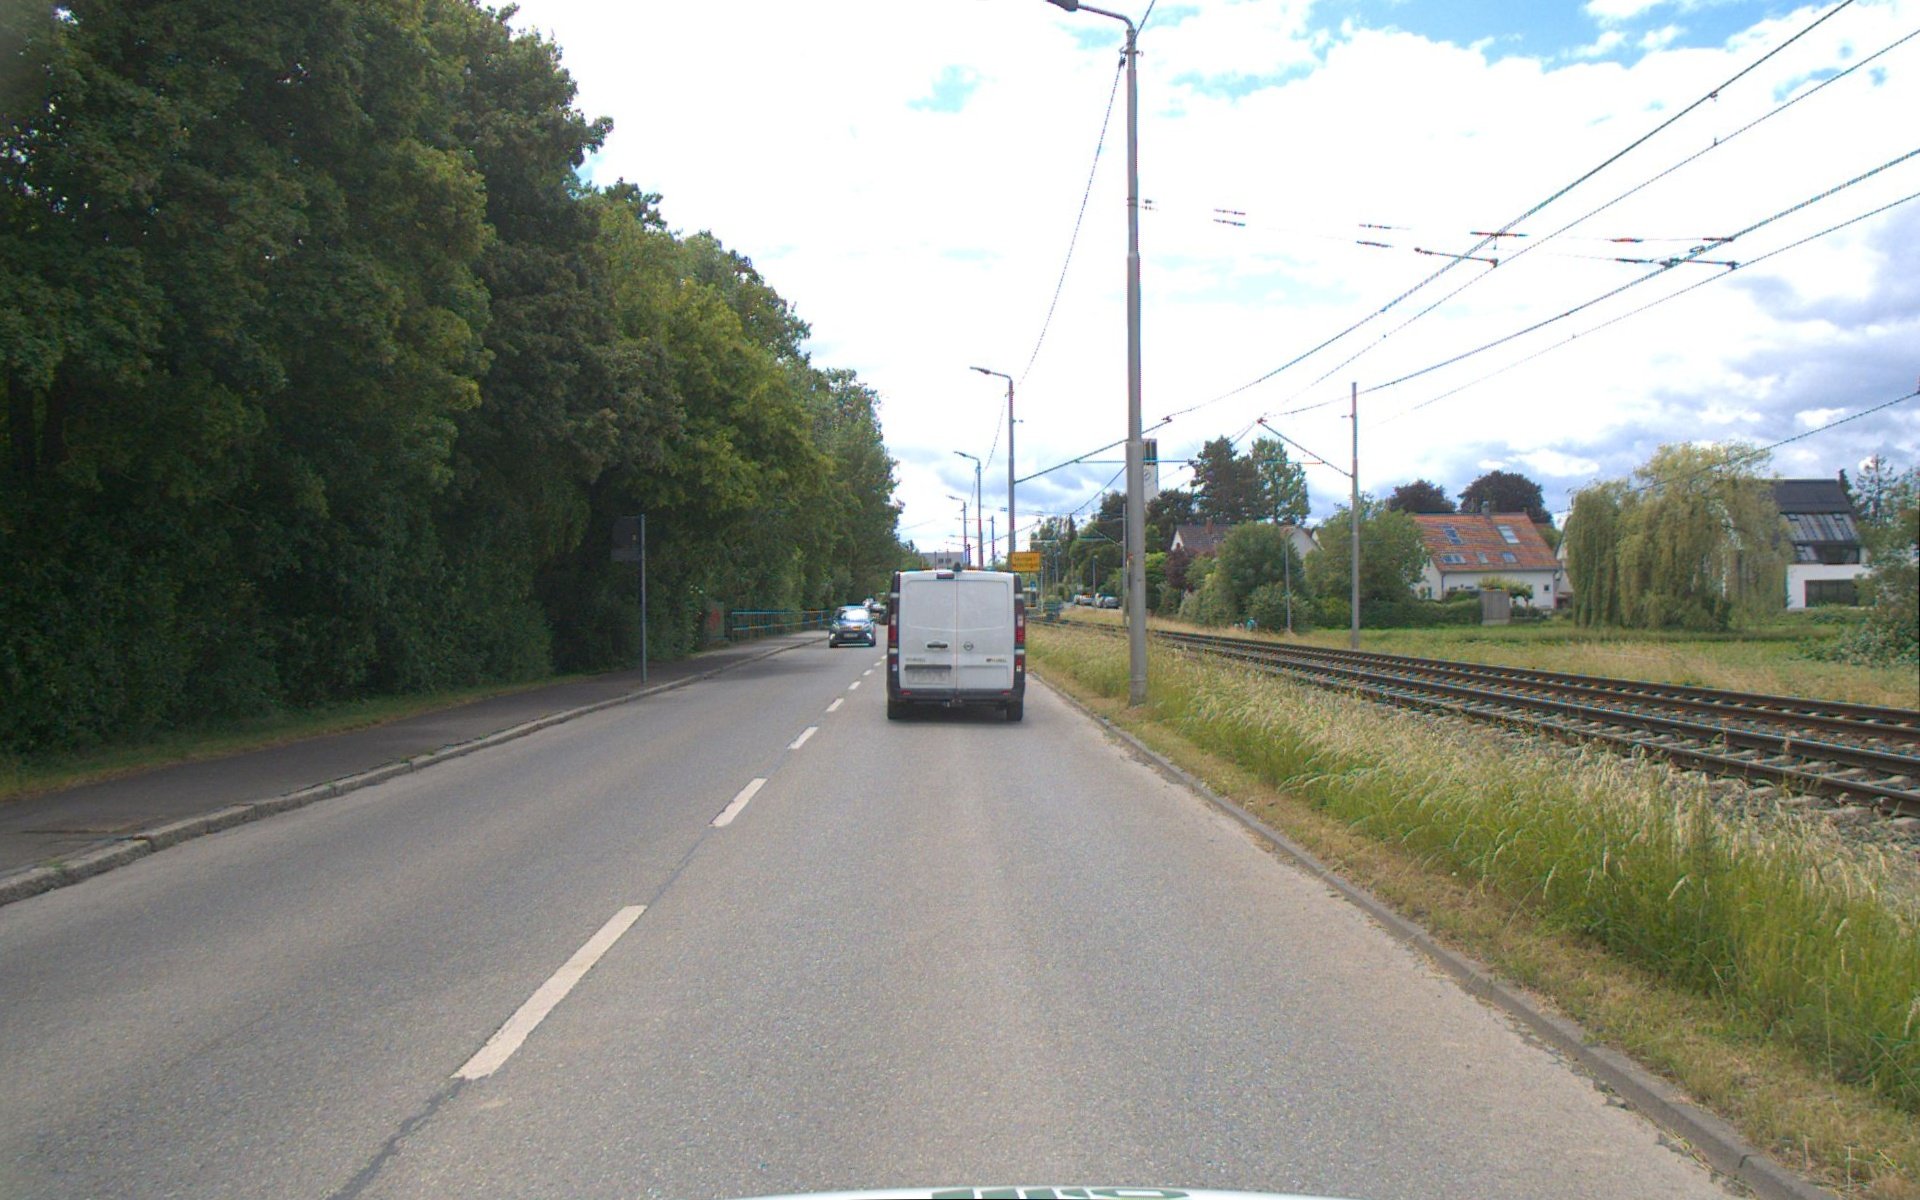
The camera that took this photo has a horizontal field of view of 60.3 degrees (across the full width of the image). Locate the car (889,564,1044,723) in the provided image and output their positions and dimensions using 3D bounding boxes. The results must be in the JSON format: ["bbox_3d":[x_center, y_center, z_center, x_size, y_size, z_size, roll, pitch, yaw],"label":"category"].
[{"bbox_3d":[0.010,0.537,22.945,1.953,1.991,3.998,0,0,-2],"label":"car"}]

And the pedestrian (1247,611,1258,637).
[{"bbox_3d":[17.056,1.388,96.488,0.515,1.532,0.656,-1,-1,-2],"label":"pedestrian"}]

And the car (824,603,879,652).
[{"bbox_3d":[-4.034,1.013,61.906,1.953,1.747,4.121,-1,0,-2],"label":"car"}]

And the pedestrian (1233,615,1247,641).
[{"bbox_3d":[16.365,1.642,96.668,0.643,1.532,0.656,-1,-1,-2],"label":"pedestrian"}]

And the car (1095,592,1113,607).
[{"bbox_3d":[18.829,-0.042,216.511,1.953,1.848,3.998,1,-2,-2],"label":"car"}]

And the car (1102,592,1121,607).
[{"bbox_3d":[19.267,-0.109,210.483,1.953,1.747,3.998,1,-2,-2],"label":"car"}]

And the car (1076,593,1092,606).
[{"bbox_3d":[18.248,-0.036,243.011,1.953,1.848,3.998,1,-2,-2],"label":"car"}]
